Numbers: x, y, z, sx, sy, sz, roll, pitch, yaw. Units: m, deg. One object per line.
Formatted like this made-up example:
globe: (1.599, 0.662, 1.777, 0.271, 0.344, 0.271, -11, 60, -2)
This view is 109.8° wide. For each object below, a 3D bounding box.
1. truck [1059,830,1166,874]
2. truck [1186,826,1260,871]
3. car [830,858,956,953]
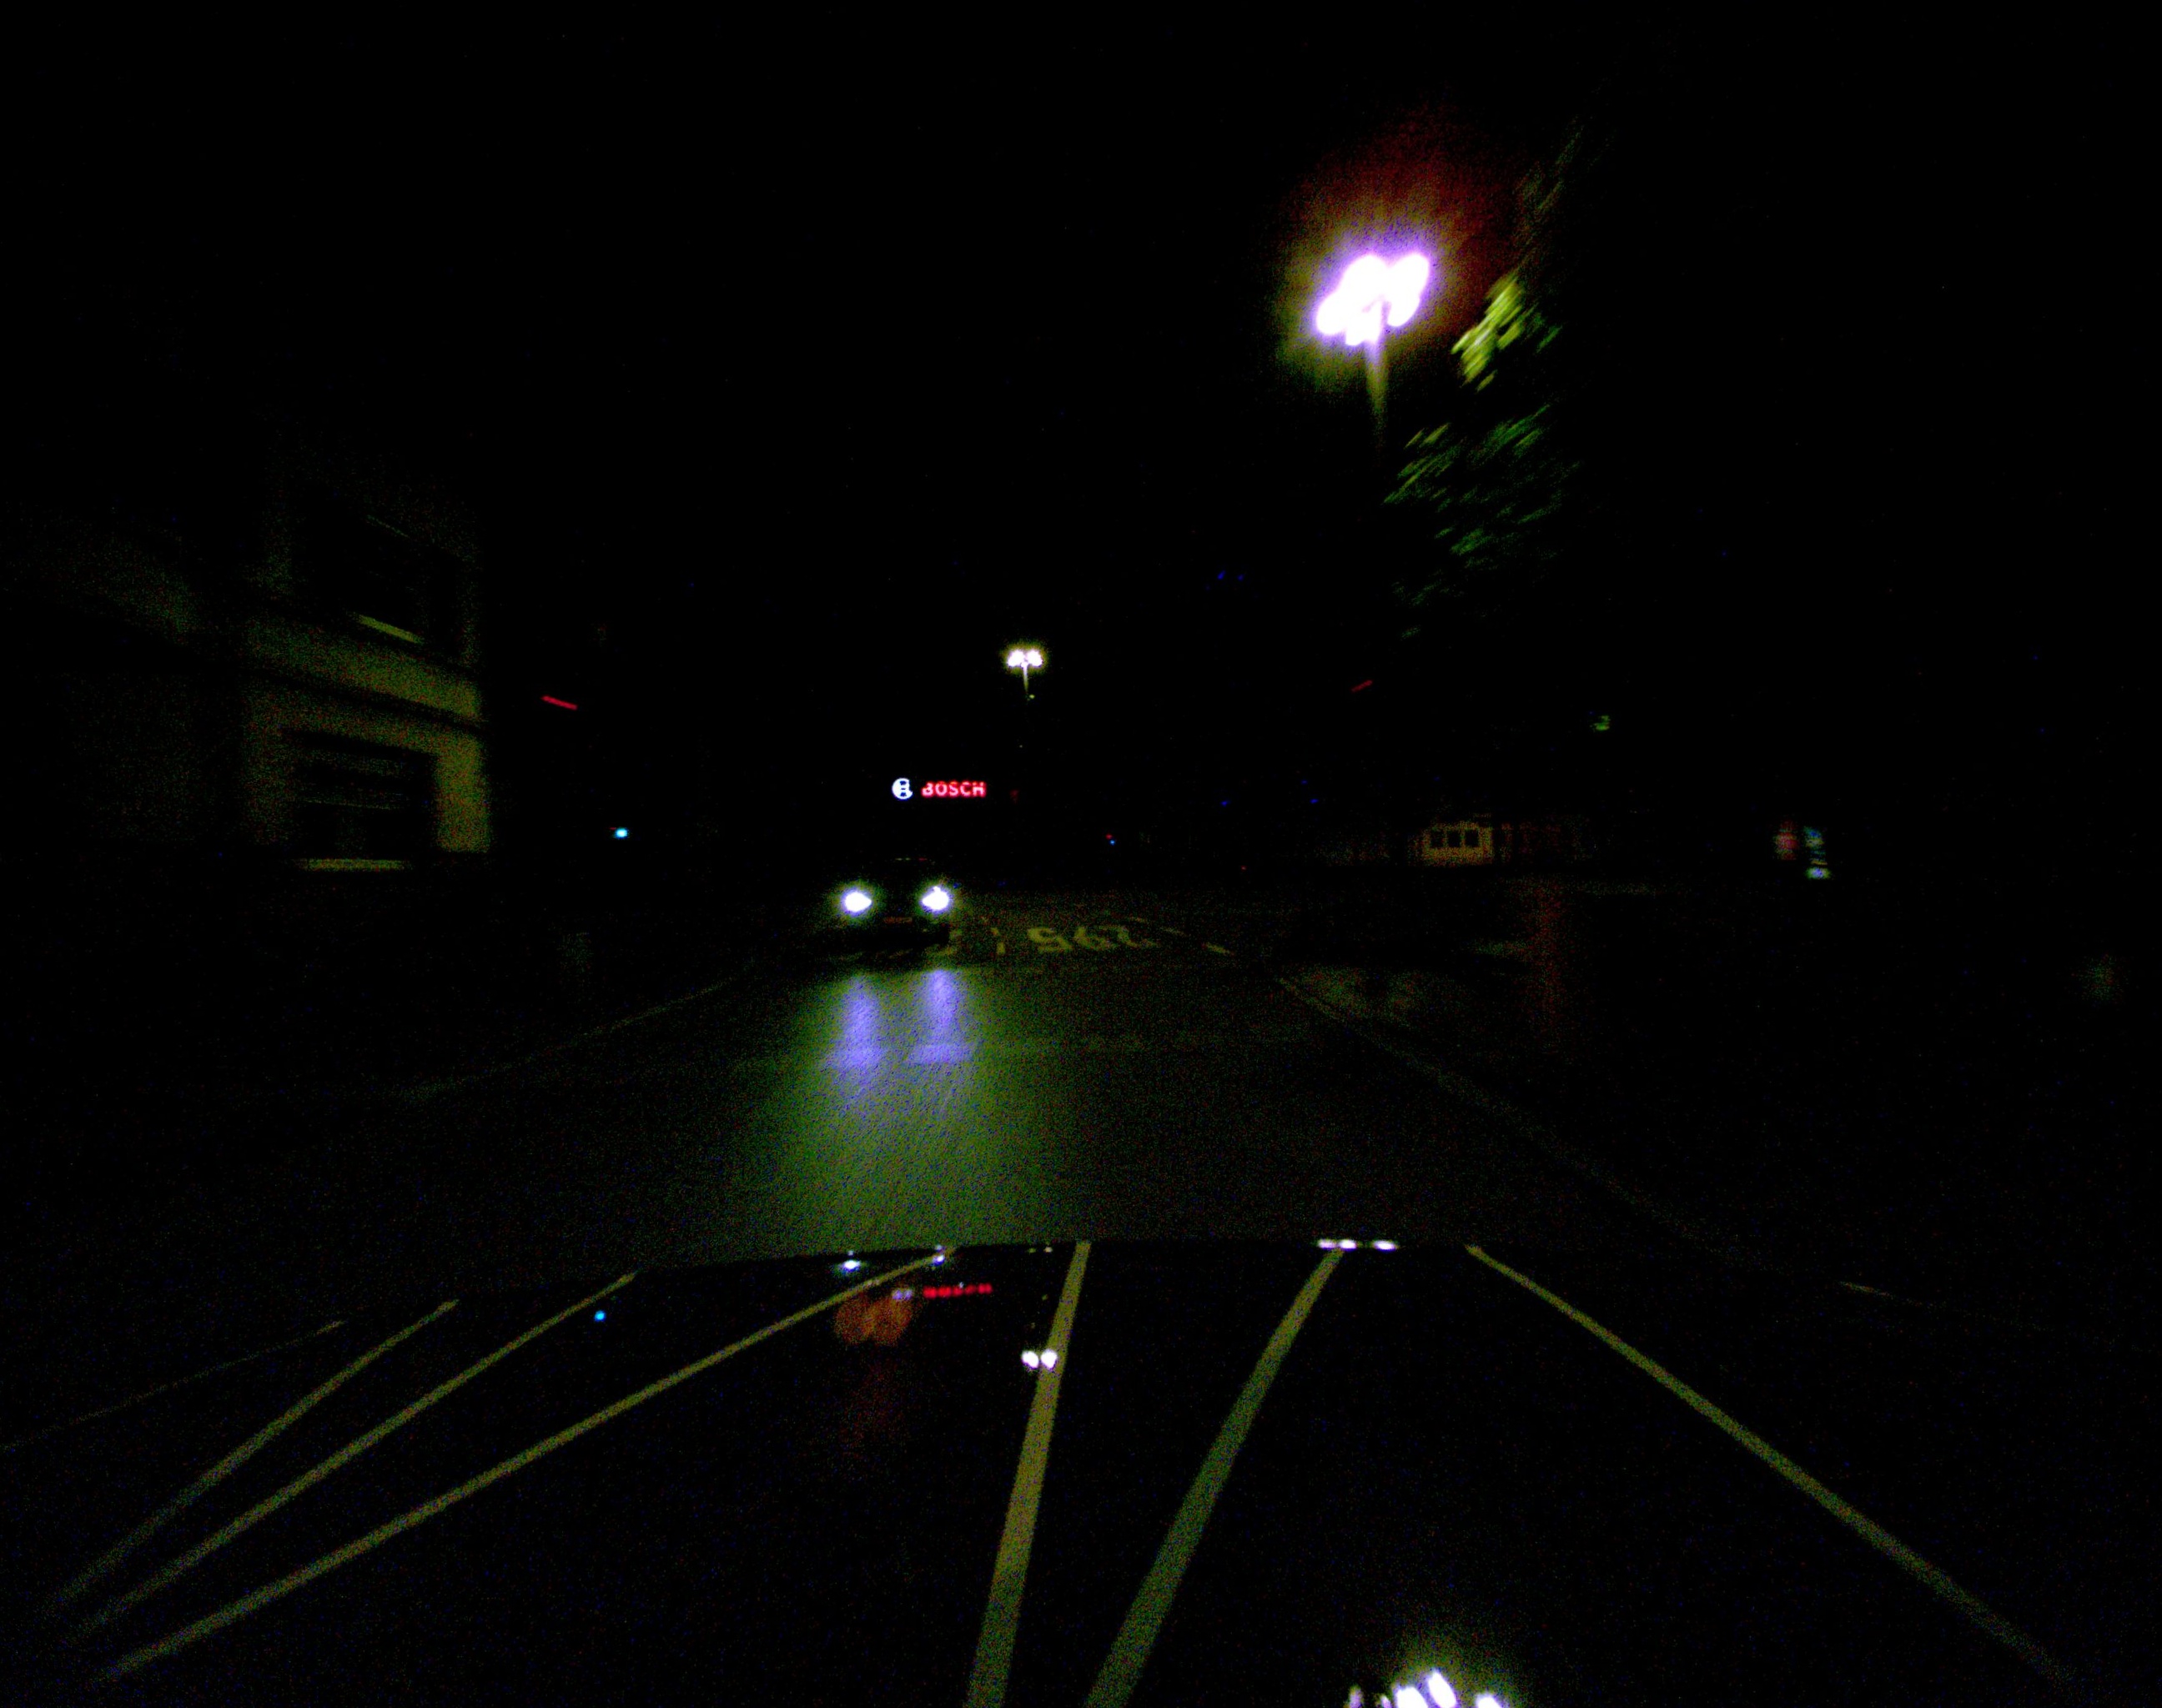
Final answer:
truck: (2.850, -0.166, 68.614, 9.341, 3.700, 2.002, -1, 1, 15)
truck: (12.459, -0.462, 66.653, 6.196, 3.672, 2.403, -2, 0, 12)
car: (-3.579, 0.910, 15.178, 2.000, 1.606, 3.997, -1, 0, -8)
